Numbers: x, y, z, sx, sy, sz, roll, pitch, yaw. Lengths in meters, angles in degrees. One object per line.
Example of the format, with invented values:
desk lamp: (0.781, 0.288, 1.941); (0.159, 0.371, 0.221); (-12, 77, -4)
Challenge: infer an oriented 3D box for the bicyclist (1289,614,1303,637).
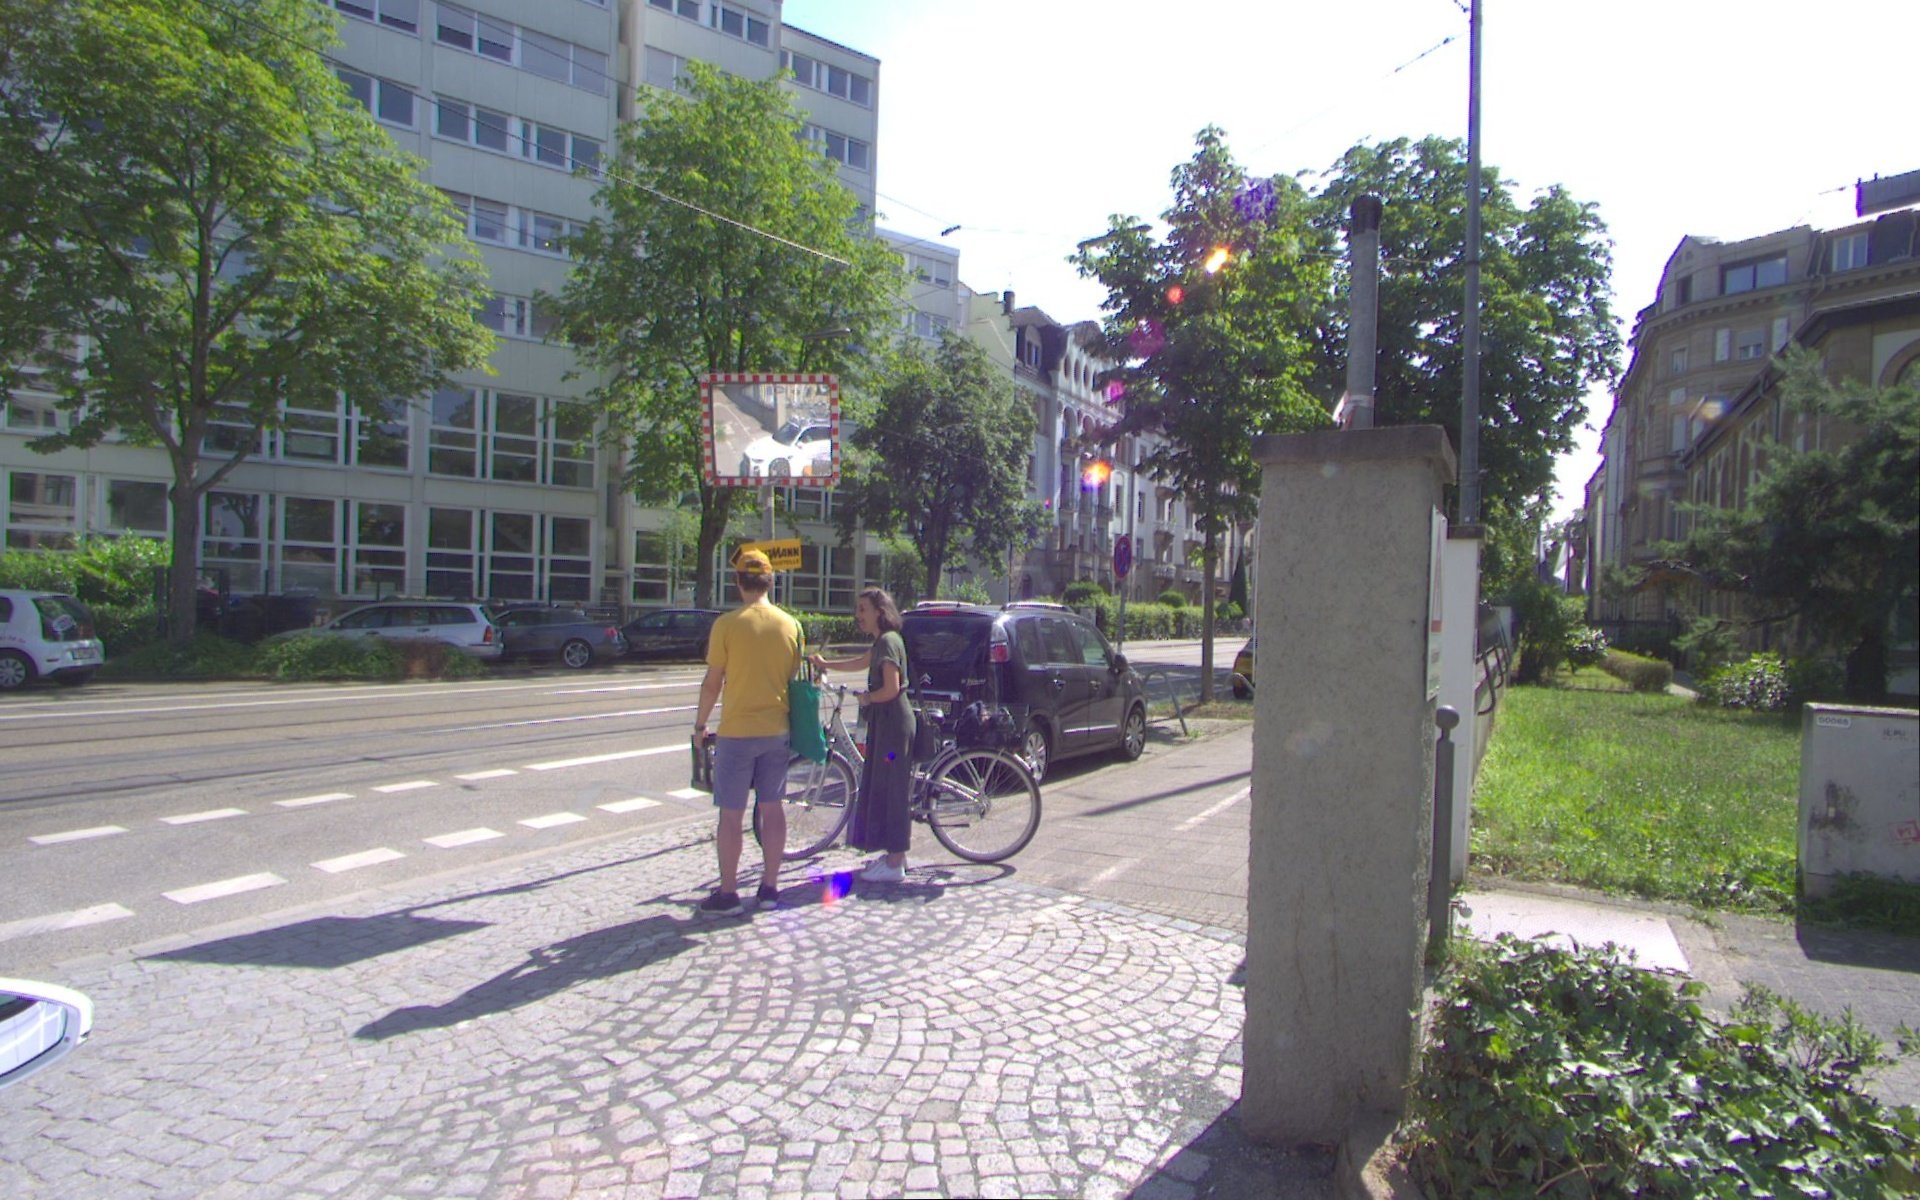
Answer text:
bicyclist: (27.367, 2.094, 81.542); (0.793, 1.825, 0.860); (2, 0, 33)

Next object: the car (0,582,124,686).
car: (-15.153, 0.470, 14.857); (3.874, 1.505, 1.610); (1, 0, -15)

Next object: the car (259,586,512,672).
car: (-11.729, 0.612, 20.749); (4.270, 1.625, 1.555); (2, -1, -19)

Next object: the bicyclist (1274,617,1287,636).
bicyclist: (26.380, 2.193, 82.342); (0.793, 1.563, 0.860); (2, 0, 33)

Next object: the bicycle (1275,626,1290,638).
bicycle: (26.620, 2.639, 82.646); (0.670, 0.929, 2.309); (2, 0, 32)

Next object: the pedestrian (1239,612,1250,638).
pedestrian: (22.368, 1.961, 78.670); (0.680, 1.958, 0.785); (2, 0, 28)

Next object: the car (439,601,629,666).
car: (-9.867, 0.785, 23.464); (3.875, 1.375, 1.556); (2, 0, -16)

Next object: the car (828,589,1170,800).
car: (0.612, 0.823, 10.379); (1.829, 1.706, 3.981); (1, -1, 31)

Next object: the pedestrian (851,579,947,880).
pedestrian: (-0.341, 0.717, 5.732); (0.445, 1.642, 0.422); (-1, -1, 12)

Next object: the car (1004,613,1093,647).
car: (4.331, 1.484, 49.207); (3.929, 1.528, 1.997); (2, 0, -16)

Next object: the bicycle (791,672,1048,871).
bicycle: (-0.245, 1.003, 6.054); (1.484, 1.055, 0.363); (2, 0, 12)

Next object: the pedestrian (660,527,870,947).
pedestrian: (-1.004, 0.630, 5.042); (0.840, 1.889, 0.827); (1, 0, -23)

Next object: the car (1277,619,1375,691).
car: (9.725, 1.398, 26.434); (1.828, 1.702, 3.984); (1, -1, 28)

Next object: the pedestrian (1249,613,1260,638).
pedestrian: (23.038, 1.978, 78.370); (0.680, 1.958, 0.785); (2, 0, 28)

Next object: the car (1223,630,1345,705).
car: (7.210, 1.395, 22.047); (1.828, 1.430, 3.984); (1, -1, 28)

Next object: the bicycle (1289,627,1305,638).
bicycle: (27.388, 2.633, 81.416); (0.670, 0.929, 2.309); (2, 0, 32)

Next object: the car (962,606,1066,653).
car: (2.289, 1.253, 42.547); (3.935, 1.884, 1.993); (2, 0, -23)

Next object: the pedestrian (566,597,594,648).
pedestrian: (-11.194, 0.659, 29.476); (0.417, 1.480, 0.620); (2, 0, 27)

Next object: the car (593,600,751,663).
car: (-7.554, 0.829, 26.455); (3.875, 1.505, 1.556); (2, 0, -16)
